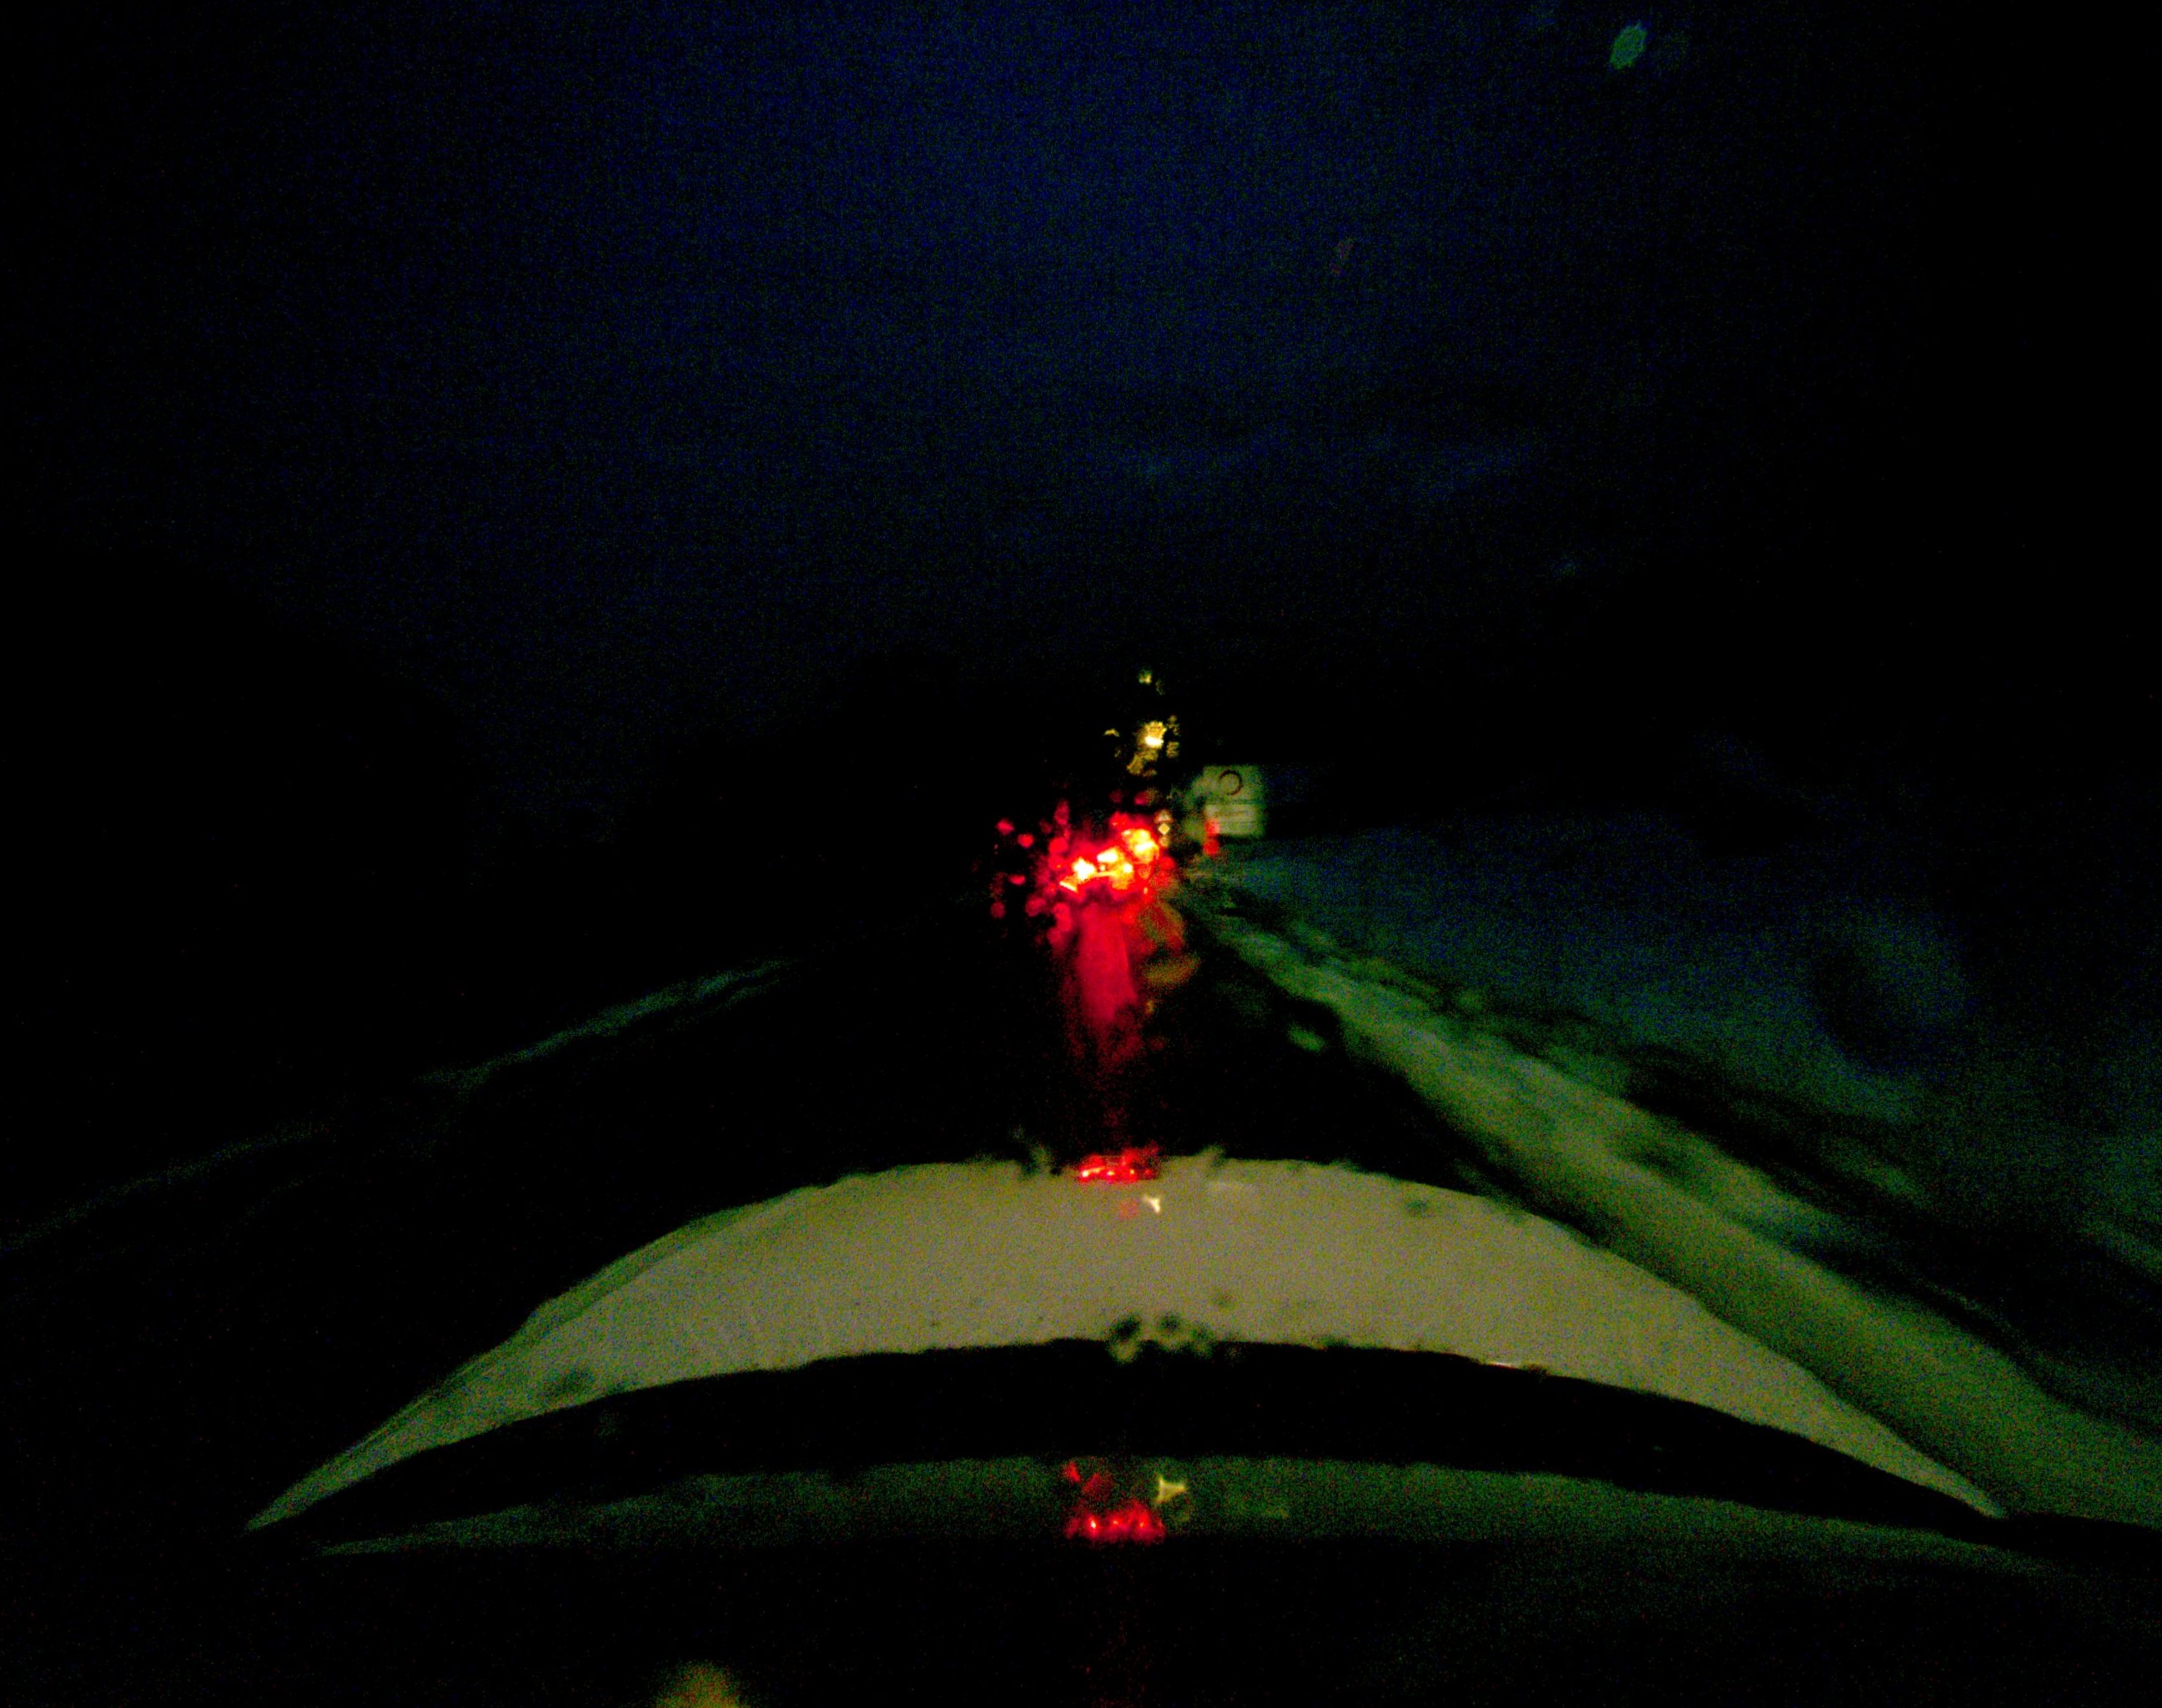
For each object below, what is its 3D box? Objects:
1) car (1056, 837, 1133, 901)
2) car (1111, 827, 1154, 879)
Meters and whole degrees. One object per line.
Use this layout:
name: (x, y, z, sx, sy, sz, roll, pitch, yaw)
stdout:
car: (0.421, 0.441, 27.034, 2.267, 1.840, 5.006, -3, 0, 0)
car: (3.294, -0.033, 52.275, 2.425, 3.018, 5.329, -4, -1, 3)
